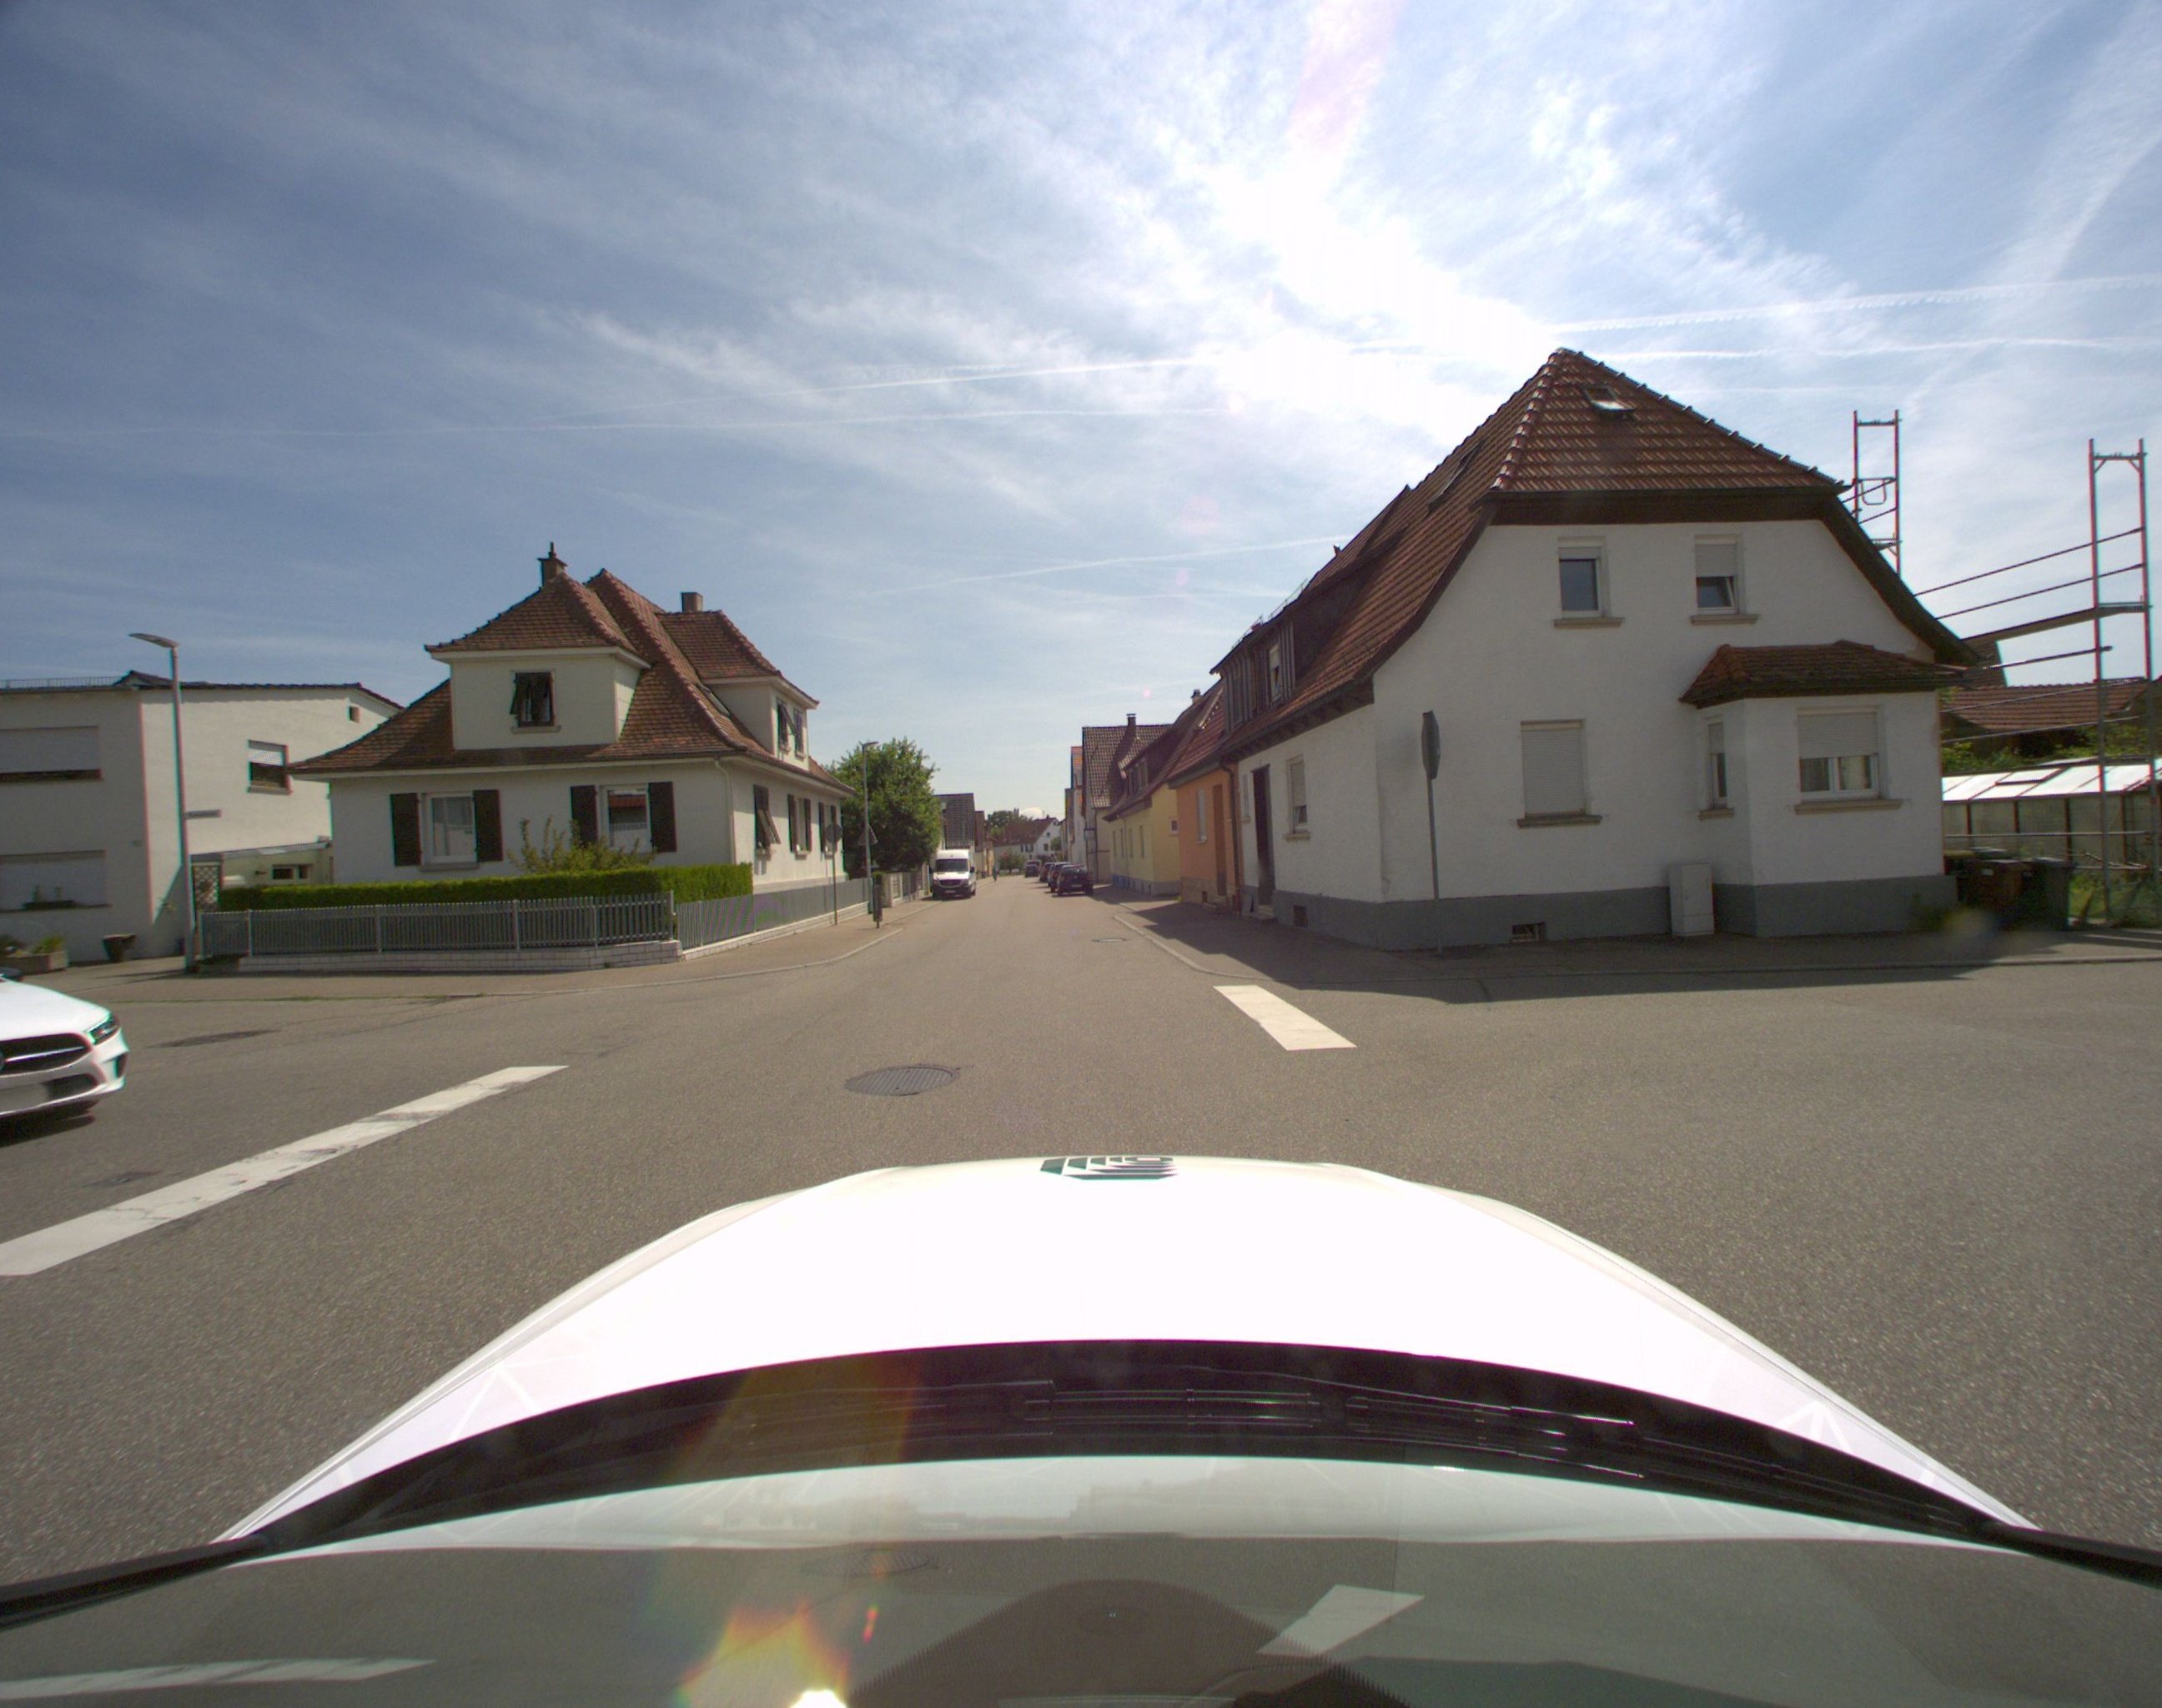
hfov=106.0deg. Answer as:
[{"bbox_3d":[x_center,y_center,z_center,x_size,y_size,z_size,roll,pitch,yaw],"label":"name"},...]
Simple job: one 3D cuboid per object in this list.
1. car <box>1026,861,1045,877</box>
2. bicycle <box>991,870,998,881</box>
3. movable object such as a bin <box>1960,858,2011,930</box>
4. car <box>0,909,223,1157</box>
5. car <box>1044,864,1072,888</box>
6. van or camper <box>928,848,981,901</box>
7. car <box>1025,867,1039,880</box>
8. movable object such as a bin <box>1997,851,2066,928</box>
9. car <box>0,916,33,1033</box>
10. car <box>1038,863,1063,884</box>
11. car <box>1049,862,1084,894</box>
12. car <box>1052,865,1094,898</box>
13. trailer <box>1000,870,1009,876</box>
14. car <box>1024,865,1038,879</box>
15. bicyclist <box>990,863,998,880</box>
[{"bbox_3d":[-6.453,2.176,116.636,2.121,2.158,4.738,-3,-1,2],"label":"car"},{"bbox_3d":[-9.299,2.313,87.254,0.669,1.132,2.185,-2,-1,-5],"label":"bicycle"},{"bbox_3d":[12.224,0.541,11.009,0.227,0.946,0.359,-2,-2,-7],"label":"movable object such as a bin"},{"bbox_3d":[-8.582,1.201,5.363,4.450,1.398,1.936,-3,-1,12],"label":"car"},{"bbox_3d":[-1.633,1.540,56.598,1.671,1.559,3.033,-2,-1,-6],"label":"car"},{"bbox_3d":[-6.769,1.075,44.197,2.180,2.572,6.796,-2,-1,-4],"label":"van or camper"},{"bbox_3d":[-6.135,2.416,102.574,1.511,1.567,3.183,-3,-1,-1],"label":"car"},{"bbox_3d":[12.678,0.474,10.866,0.584,0.992,0.289,-2,-2,-6],"label":"movable object such as a bin"},{"bbox_3d":[-15.786,1.617,9.646,4.555,1.438,1.760,-3,-1,2],"label":"car"},{"bbox_3d":[-2.702,1.672,71.553,1.873,1.700,4.174,-2,-1,-6],"label":"car"},{"bbox_3d":[-0.840,1.268,44.706,1.725,1.600,4.247,-2,-1,-3],"label":"car"},{"bbox_3d":[-0.423,1.289,39.170,1.609,1.431,3.746,-2,-1,-6],"label":"car"},{"bbox_3d":[-12.370,3.093,131.826,1.498,0.927,1.011,-1,-1,-3],"label":"trailer"},{"bbox_3d":[-6.584,2.354,107.380,1.511,1.624,3.183,-3,-1,-1],"label":"car"},{"bbox_3d":[-9.326,1.908,87.215,0.712,1.799,0.940,-2,-1,-6],"label":"bicyclist"}]
